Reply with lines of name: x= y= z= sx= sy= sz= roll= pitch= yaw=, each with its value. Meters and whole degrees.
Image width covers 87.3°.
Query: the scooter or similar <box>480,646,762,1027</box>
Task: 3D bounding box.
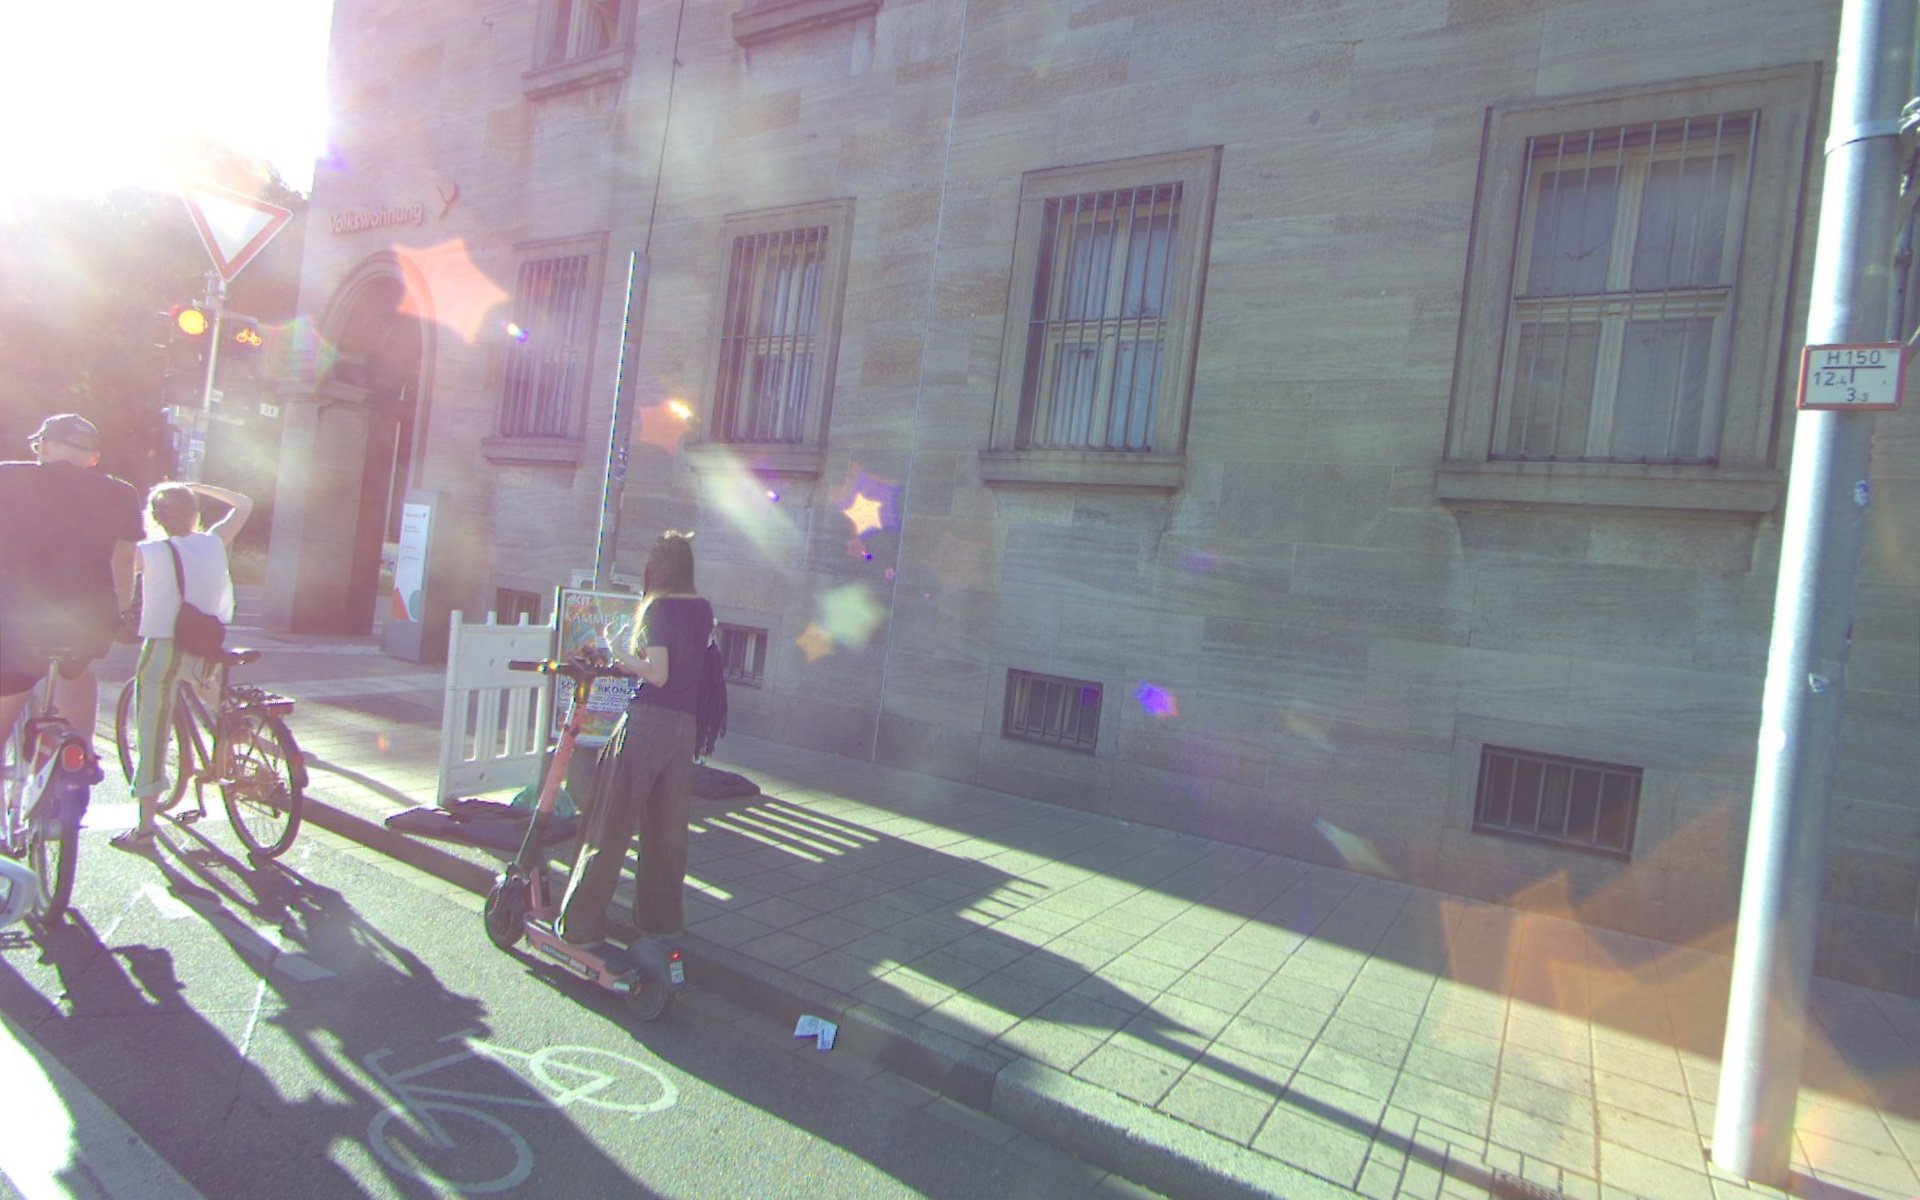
scooter or similar: x=-1.388 y=0.844 z=3.980 sx=0.570 sy=1.161 sz=1.261 roll=11 pitch=-4 yaw=-34

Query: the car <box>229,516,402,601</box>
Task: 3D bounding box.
car: x=-20.283 y=-1.261 z=31.806 sx=1.968 sy=2.037 sz=3.994 roll=6 pitch=-2 yaw=33

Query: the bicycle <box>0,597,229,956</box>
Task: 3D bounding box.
bicycle: x=-3.724 y=0.589 z=3.992 sx=1.717 sy=1.057 sz=0.624 roll=7 pitch=0 yaw=31

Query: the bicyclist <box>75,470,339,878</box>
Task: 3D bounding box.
bicyclist: x=-3.645 y=0.314 z=4.868 sx=0.934 sy=1.760 sz=0.584 roll=7 pitch=0 yaw=32

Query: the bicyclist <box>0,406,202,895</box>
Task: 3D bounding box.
bicyclist: x=-3.661 y=0.169 z=3.986 sx=0.897 sy=1.736 sz=0.624 roll=7 pitch=0 yaw=31

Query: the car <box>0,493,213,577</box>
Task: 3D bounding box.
car: x=-23.483 y=-1.751 z=27.350 sx=1.967 sy=1.533 sz=4.586 roll=6 pitch=-2 yaw=32

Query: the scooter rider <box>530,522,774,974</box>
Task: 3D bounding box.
scooter rider: x=-1.200 y=0.531 z=3.915 sx=0.543 sy=1.581 sz=0.569 roll=7 pitch=0 yaw=-45

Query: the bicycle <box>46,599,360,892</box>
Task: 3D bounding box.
bicycle: x=-3.713 y=0.628 z=4.889 sx=1.718 sy=1.057 sz=0.582 roll=7 pitch=0 yaw=33
